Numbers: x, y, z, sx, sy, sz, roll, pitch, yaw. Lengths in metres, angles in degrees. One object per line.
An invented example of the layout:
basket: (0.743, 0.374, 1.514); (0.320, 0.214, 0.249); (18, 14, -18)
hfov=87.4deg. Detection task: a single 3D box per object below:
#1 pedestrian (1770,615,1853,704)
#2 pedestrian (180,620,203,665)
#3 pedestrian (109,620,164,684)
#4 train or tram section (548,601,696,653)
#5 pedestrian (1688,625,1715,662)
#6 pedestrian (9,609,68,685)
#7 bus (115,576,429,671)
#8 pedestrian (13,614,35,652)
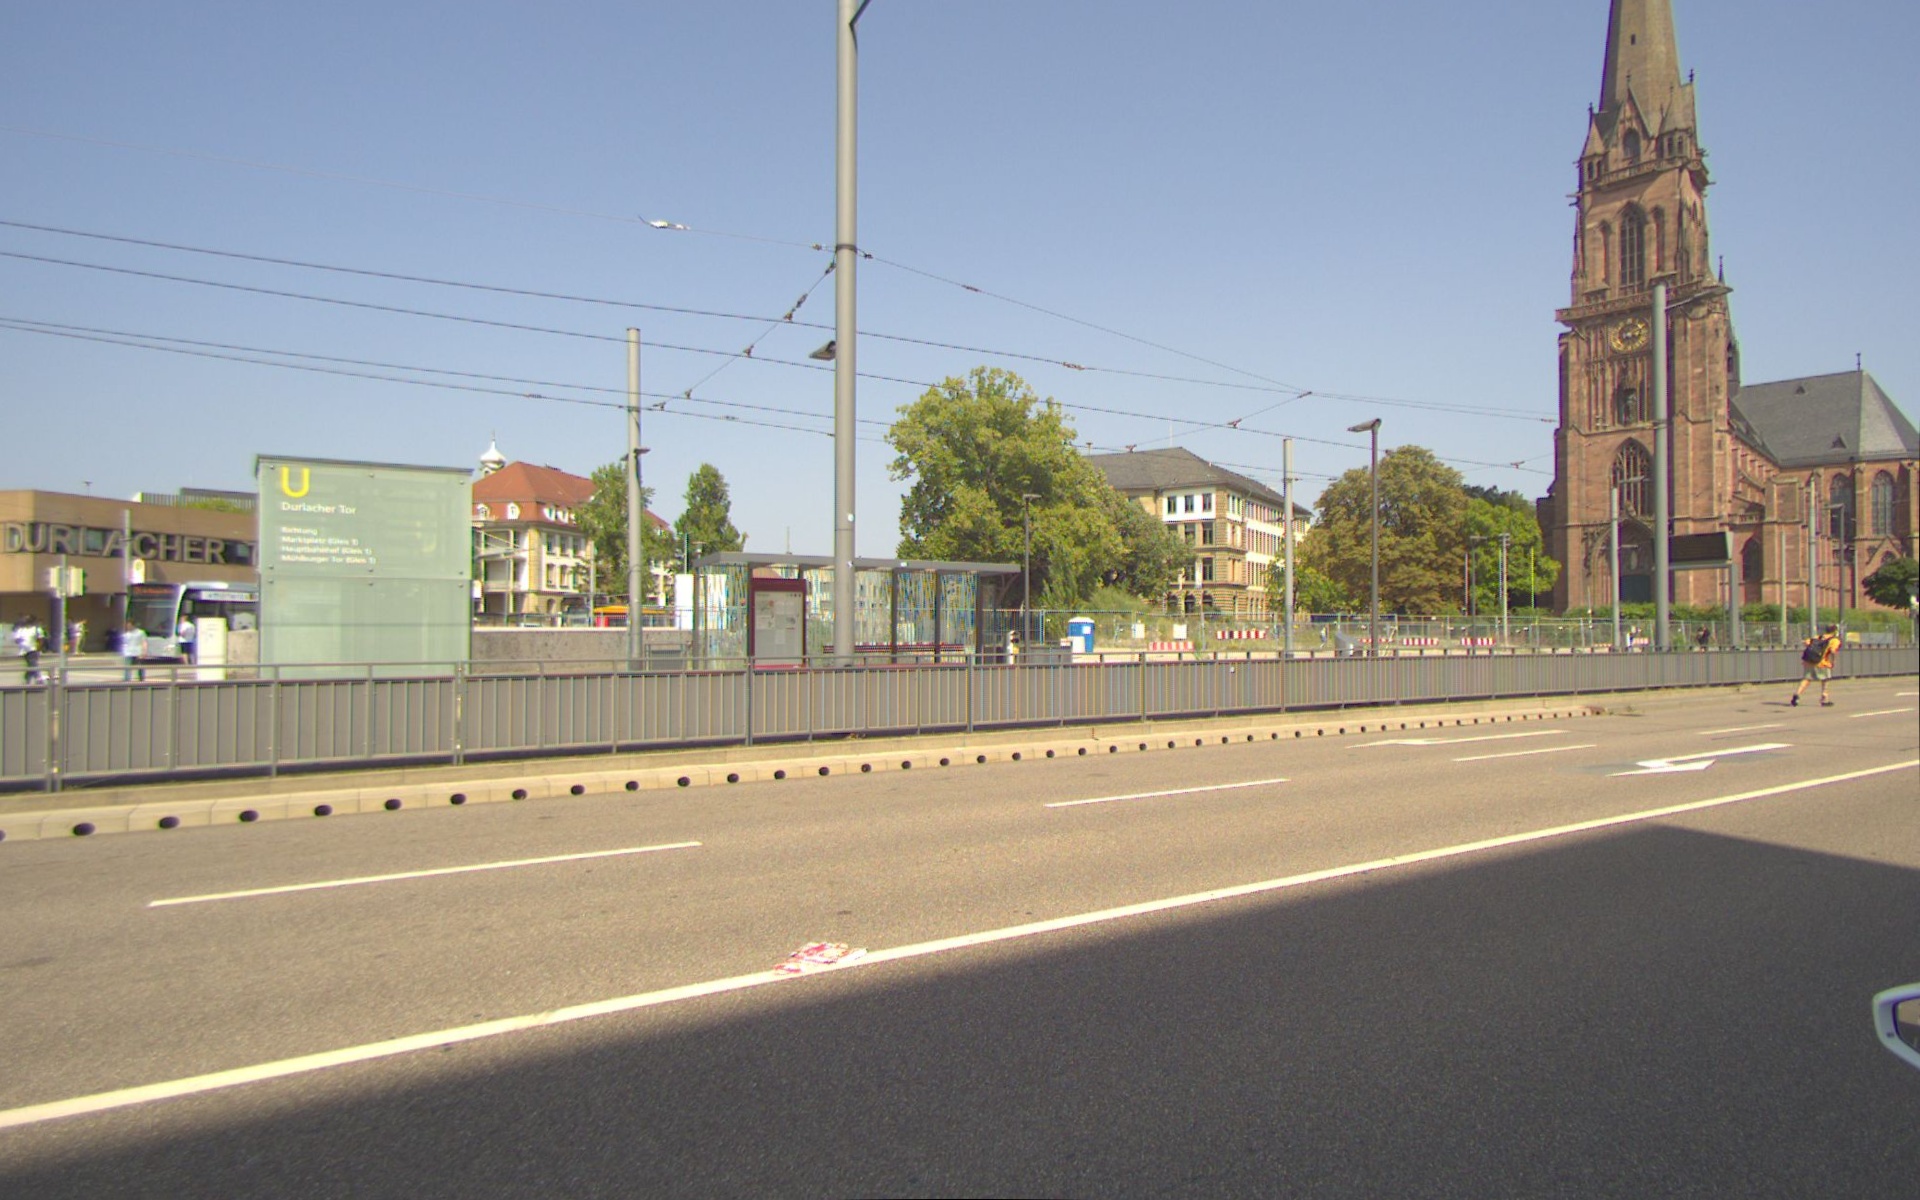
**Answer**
pedestrian: (17.320, 1.206, 20.439); (1.048, 1.775, 0.763); (1, -2, -5)
pedestrian: (-27.207, 1.503, 35.548); (0.573, 1.549, 0.593); (2, -2, -41)
pedestrian: (-20.574, 1.284, 25.102); (0.768, 1.569, 0.679); (1, -1, 8)
train or tram section: (-29.070, 2.447, 88.053); (3.982, 3.972, 16.683); (-2, -2, 13)
pedestrian: (36.093, 2.094, 48.897); (0.712, 1.775, 0.825); (1, -2, -30)
pedestrian: (-21.716, 1.102, 23.675); (0.768, 1.751, 0.679); (-1, -1, 8)
bus: (-27.935, 0.934, 42.164); (2.623, 3.375, 12.766); (0, -1, 10)
pedestrian: (-41.866, 1.461, 44.946); (0.564, 1.667, 0.508); (-2, 0, -29)
